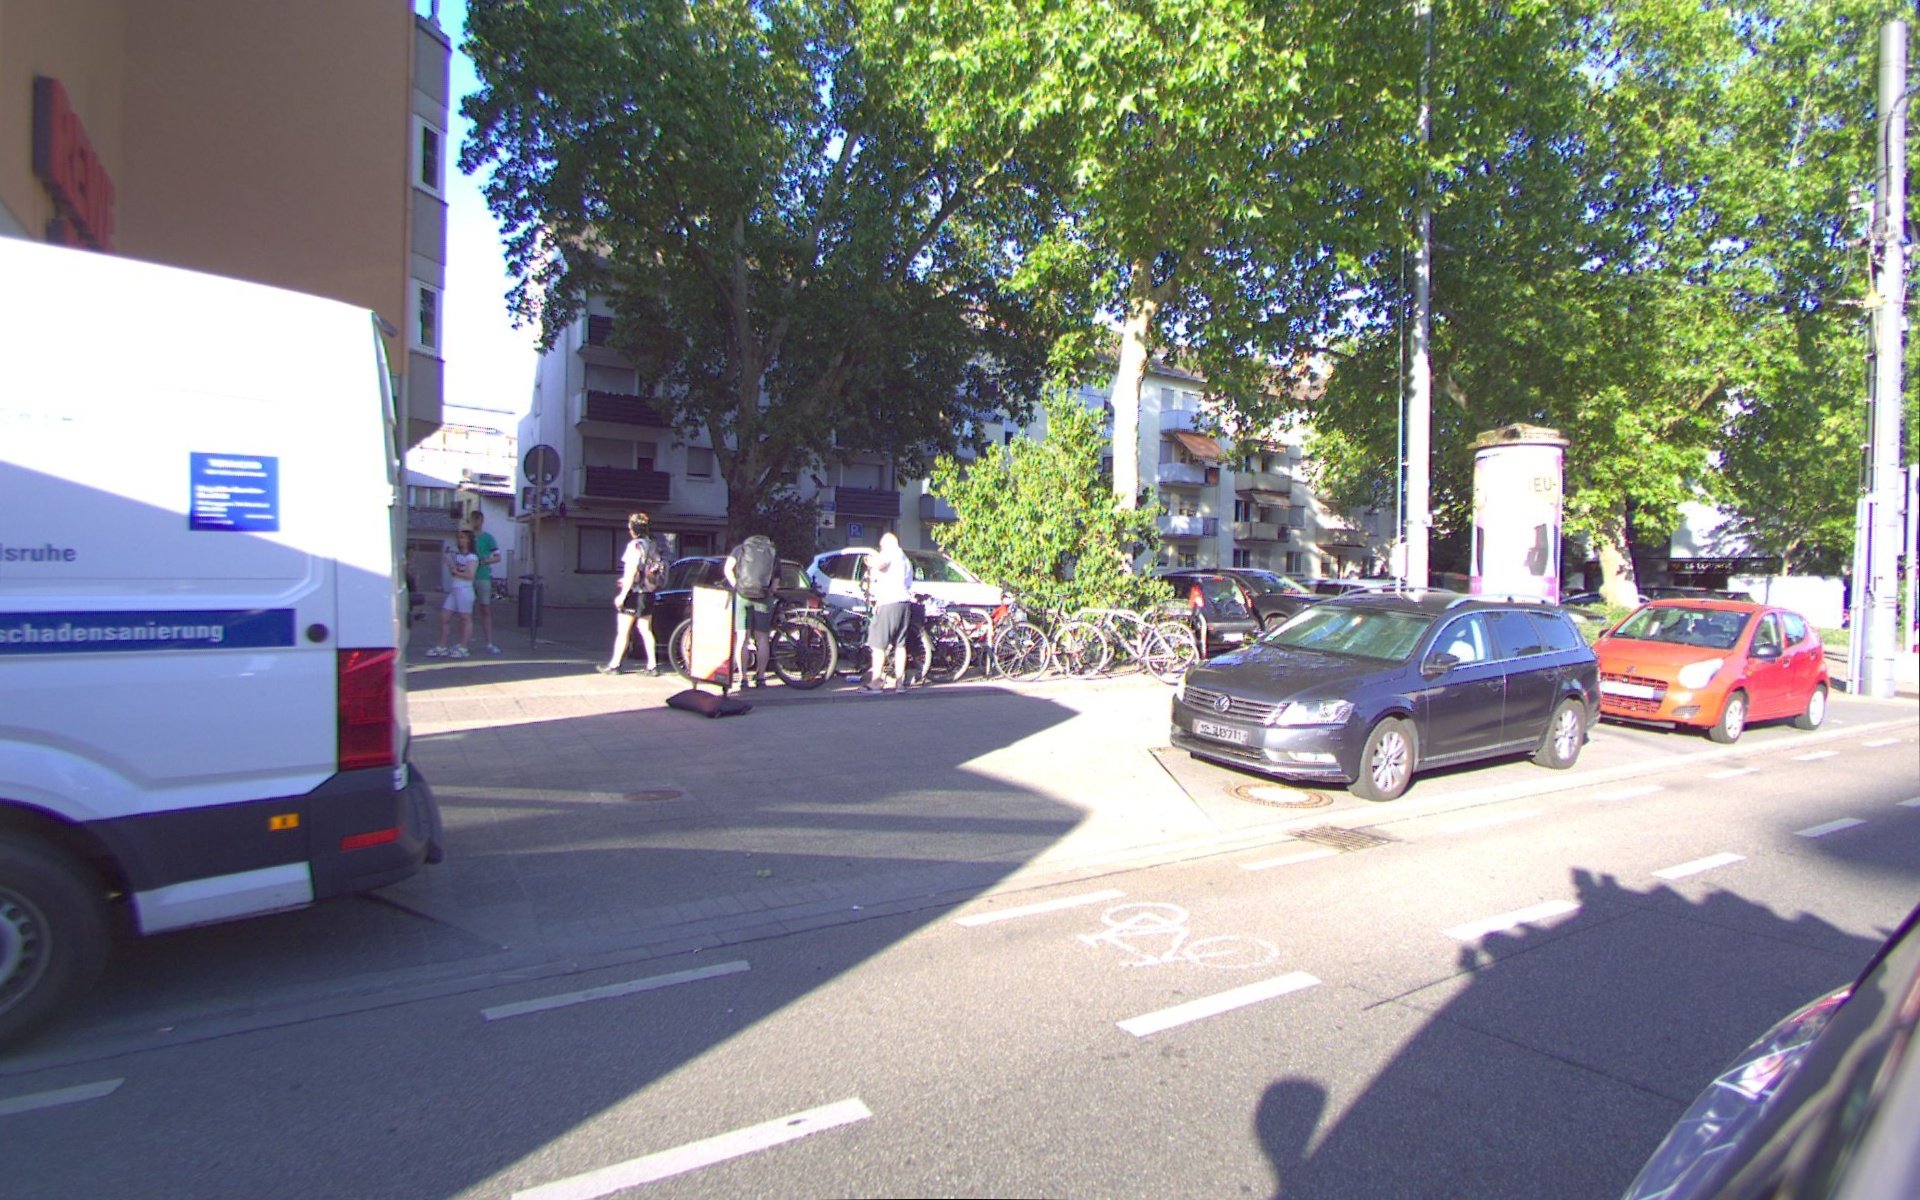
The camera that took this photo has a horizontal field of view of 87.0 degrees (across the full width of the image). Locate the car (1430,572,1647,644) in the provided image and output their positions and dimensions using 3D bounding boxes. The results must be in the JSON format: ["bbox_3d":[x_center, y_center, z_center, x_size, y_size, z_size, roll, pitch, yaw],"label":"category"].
[{"bbox_3d":[13.620,0.134,24.067,1.767,1.513,4.130,1,2,-31],"label":"car"}]

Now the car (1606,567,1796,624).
[{"bbox_3d":[21.685,-0.101,29.784,1.767,1.570,4.128,1,-1,-31],"label":"car"}]

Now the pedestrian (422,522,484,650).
[{"bbox_3d":[-6.470,-0.188,12.917,0.633,1.587,0.417,2,1,28],"label":"pedestrian"}]

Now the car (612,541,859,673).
[{"bbox_3d":[-3.161,-0.024,13.630,1.962,1.449,4.030,-3,4,-32],"label":"car"}]

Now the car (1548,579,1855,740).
[{"bbox_3d":[8.574,0.585,11.649,3.554,1.512,1.577,0,4,-32],"label":"car"}]

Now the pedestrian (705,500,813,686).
[{"bbox_3d":[-2.043,-0.088,10.235,0.753,1.772,0.810,2,4,-32],"label":"pedestrian"}]

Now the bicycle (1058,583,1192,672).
[{"bbox_3d":[2.093,0.325,12.797,1.563,1.026,0.647,2,1,21],"label":"bicycle"}]

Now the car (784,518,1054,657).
[{"bbox_3d":[-0.800,-0.112,15.056,1.961,1.731,4.634,0,-1,-33],"label":"car"}]

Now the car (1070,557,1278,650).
[{"bbox_3d":[3.779,0.094,18.401,1.739,1.502,3.510,1,-1,-33],"label":"car"}]

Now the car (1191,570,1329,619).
[{"bbox_3d":[10.316,-0.226,35.110,1.962,1.554,4.296,0,2,-35],"label":"car"}]

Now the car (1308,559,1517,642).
[{"bbox_3d":[9.816,0.022,22.226,1.819,1.652,3.856,1,0,-31],"label":"car"}]

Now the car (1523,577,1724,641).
[{"bbox_3d":[17.659,0.194,27.128,1.767,1.513,4.130,1,2,-31],"label":"car"}]

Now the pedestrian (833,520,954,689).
[{"bbox_3d":[-0.695,0.035,10.561,0.972,1.656,0.661,1,4,-40],"label":"pedestrian"}]

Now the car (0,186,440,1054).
[{"bbox_3d":[-4.801,-0.005,2.953,5.671,2.581,2.027,0,5,-32],"label":"car"}]

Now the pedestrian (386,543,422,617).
[{"bbox_3d":[-12.046,-0.437,21.921,0.585,1.560,0.745,1,1,-34],"label":"pedestrian"}]

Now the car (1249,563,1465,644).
[{"bbox_3d":[8.062,0.106,20.885,1.819,1.514,3.855,0,-1,-31],"label":"car"}]

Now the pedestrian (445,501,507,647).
[{"bbox_3d":[-6.466,-0.352,13.521,0.567,1.905,0.471,2,1,17],"label":"pedestrian"}]

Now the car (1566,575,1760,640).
[{"bbox_3d":[19.823,0.156,28.722,1.767,1.619,4.130,1,2,-31],"label":"car"}]

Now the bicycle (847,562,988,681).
[{"bbox_3d":[-0.474,0.213,11.223,1.501,1.242,0.401,2,1,19],"label":"bicycle"}]

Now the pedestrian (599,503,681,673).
[{"bbox_3d":[-3.546,-0.140,11.206,0.639,1.803,0.529,1,4,-39],"label":"pedestrian"}]

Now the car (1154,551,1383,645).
[{"bbox_3d":[5.834,0.010,19.600,1.820,1.621,4.035,1,-1,-33],"label":"car"}]

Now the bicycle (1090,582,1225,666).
[{"bbox_3d":[2.619,0.291,13.417,1.659,1.026,0.647,2,1,21],"label":"bicycle"}]

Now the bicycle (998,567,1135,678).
[{"bbox_3d":[1.292,0.244,12.143,1.558,1.242,0.645,2,1,12],"label":"bicycle"}]

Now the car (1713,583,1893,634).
[{"bbox_3d":[28.375,0.235,34.183,1.962,1.514,4.296,0,2,-35],"label":"car"}]

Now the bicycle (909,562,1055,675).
[{"bbox_3d":[0.254,0.206,11.645,1.563,1.242,0.647,0,0,21],"label":"bicycle"}]

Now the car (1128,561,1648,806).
[{"bbox_3d":[3.759,0.534,8.611,4.561,1.549,1.704,0,4,-32],"label":"car"}]
